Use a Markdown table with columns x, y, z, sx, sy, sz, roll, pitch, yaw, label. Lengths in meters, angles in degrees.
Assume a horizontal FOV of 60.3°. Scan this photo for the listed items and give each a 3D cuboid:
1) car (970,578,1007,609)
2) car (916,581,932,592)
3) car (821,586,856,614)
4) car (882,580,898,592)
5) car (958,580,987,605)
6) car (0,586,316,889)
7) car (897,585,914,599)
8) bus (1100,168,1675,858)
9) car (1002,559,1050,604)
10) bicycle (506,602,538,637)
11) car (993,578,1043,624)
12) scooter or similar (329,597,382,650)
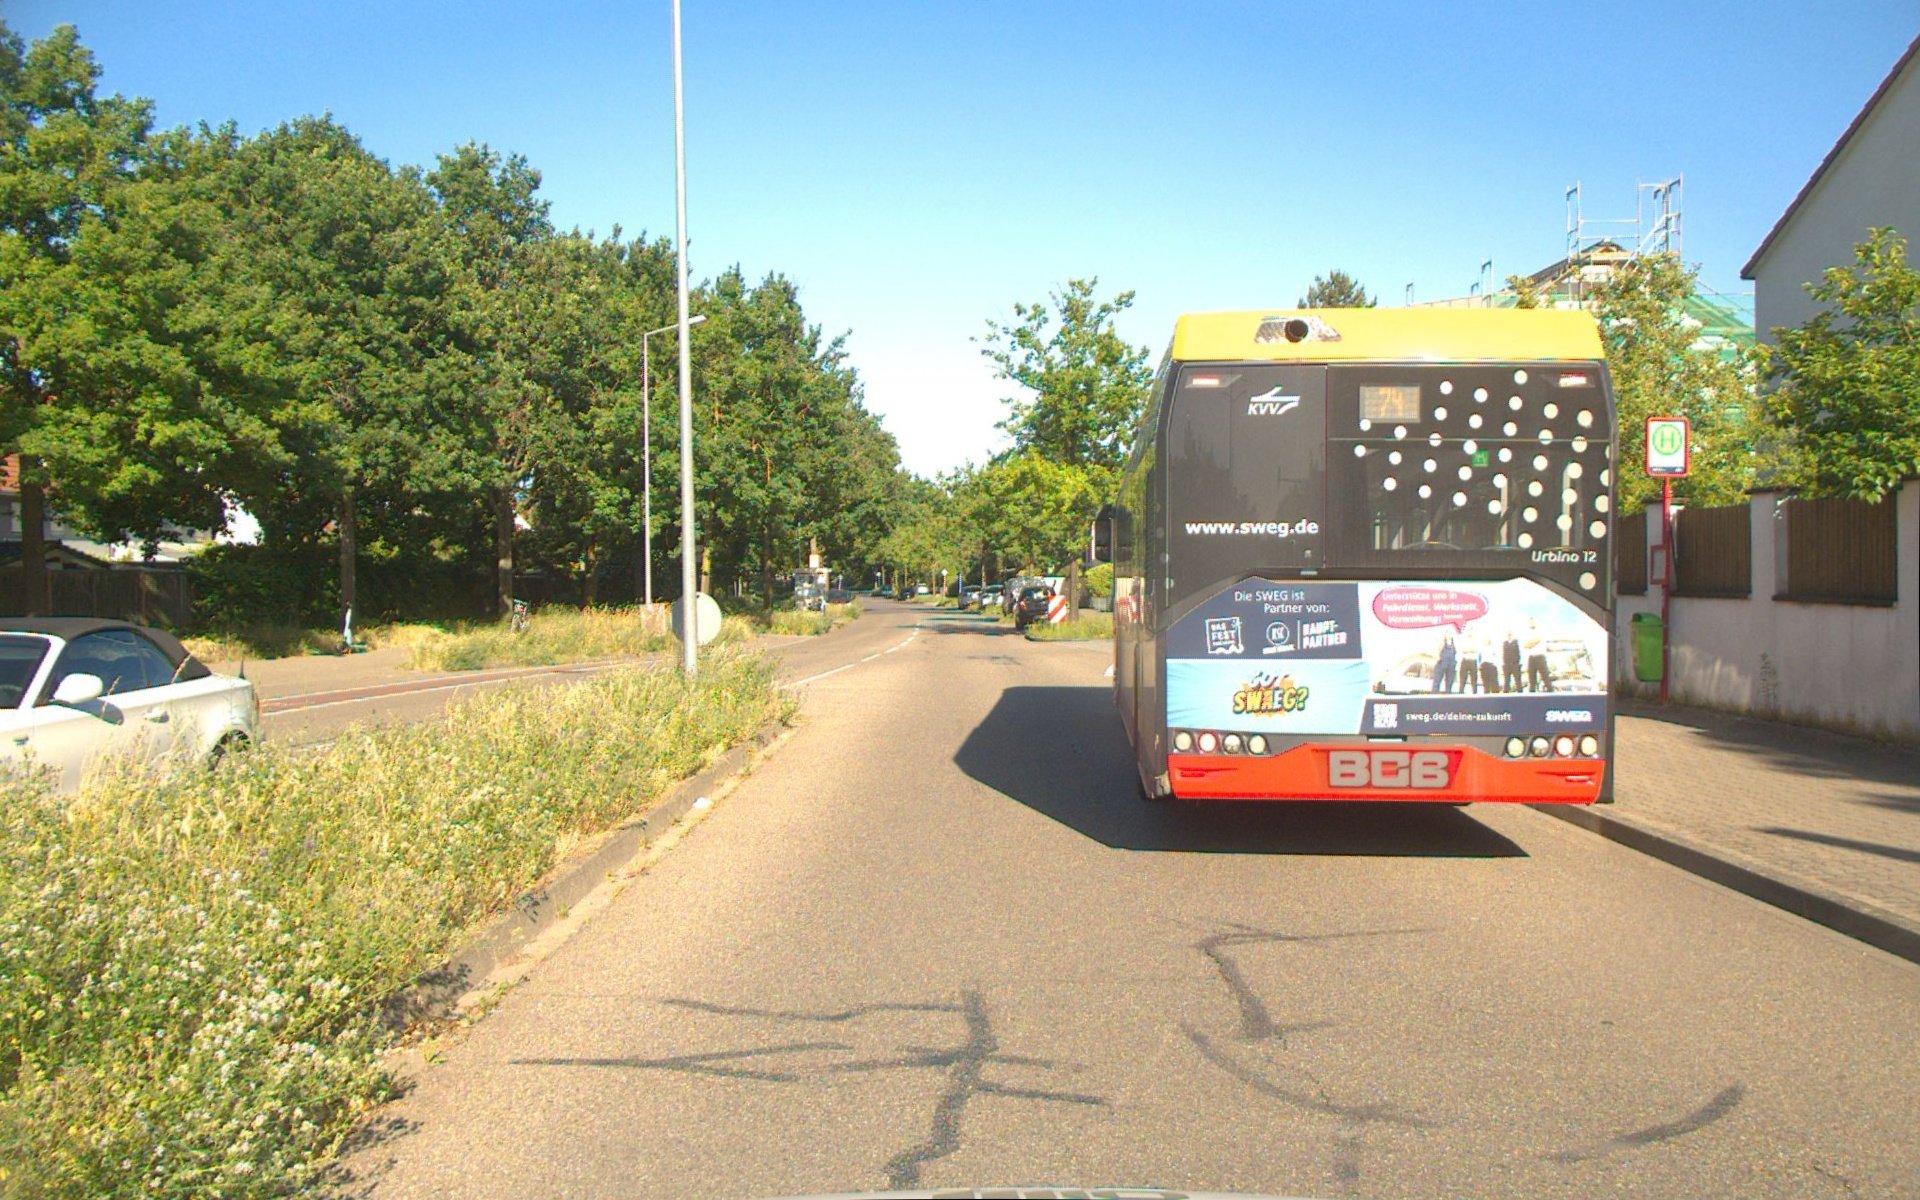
| x | y | z | sx | sy | sz | roll | pitch | yaw | label |
| --- | --- | --- | --- | --- | --- | --- | --- | --- | --- |
| 1.629 | -0.399 | 97.157 | 1.897 | 1.734 | 3.998 | -1 | 0 | -3 | car |
| -4.702 | -1.750 | 214.798 | 1.895 | 1.479 | 3.997 | -1 | 0 | -4 | car |
| -6.782 | -0.025 | 92.054 | 1.898 | 1.505 | 3.996 | -1 | 0 | -4 | car |
| -9.055 | -1.791 | 213.335 | 1.895 | 1.479 | 3.997 | -1 | 0 | -4 | car |
| 0.894 | -0.546 | 119.726 | 1.895 | 1.773 | 3.998 | -1 | 0 | -3 | car |
| -5.704 | 0.701 | 9.662 | 1.952 | 1.476 | 4.401 | -1 | 1 | 3 | car |
| -6.231 | -0.969 | 188.497 | 1.895 | 1.569 | 3.998 | -1 | 0 | -3 | car |
| 2.733 | -0.439 | 14.818 | 2.699 | 3.518 | 12.404 | -2 | 0 | 4 | bus |
| 3.026 | -0.853 | 77.107 | 1.799 | 2.005 | 4.756 | -1 | 0 | -3 | car |
| -13.839 | 0.597 | 52.253 | 0.495 | 1.072 | 1.880 | -1 | 0 | 0 | bicycle |
| 2.130 | 0.006 | 61.625 | 1.638 | 1.606 | 3.751 | -2 | 1 | -1 | car |
| -15.023 | 0.578 | 41.130 | 0.527 | 1.240 | 1.415 | 1 | 2 | 16 | scooter or similar |
